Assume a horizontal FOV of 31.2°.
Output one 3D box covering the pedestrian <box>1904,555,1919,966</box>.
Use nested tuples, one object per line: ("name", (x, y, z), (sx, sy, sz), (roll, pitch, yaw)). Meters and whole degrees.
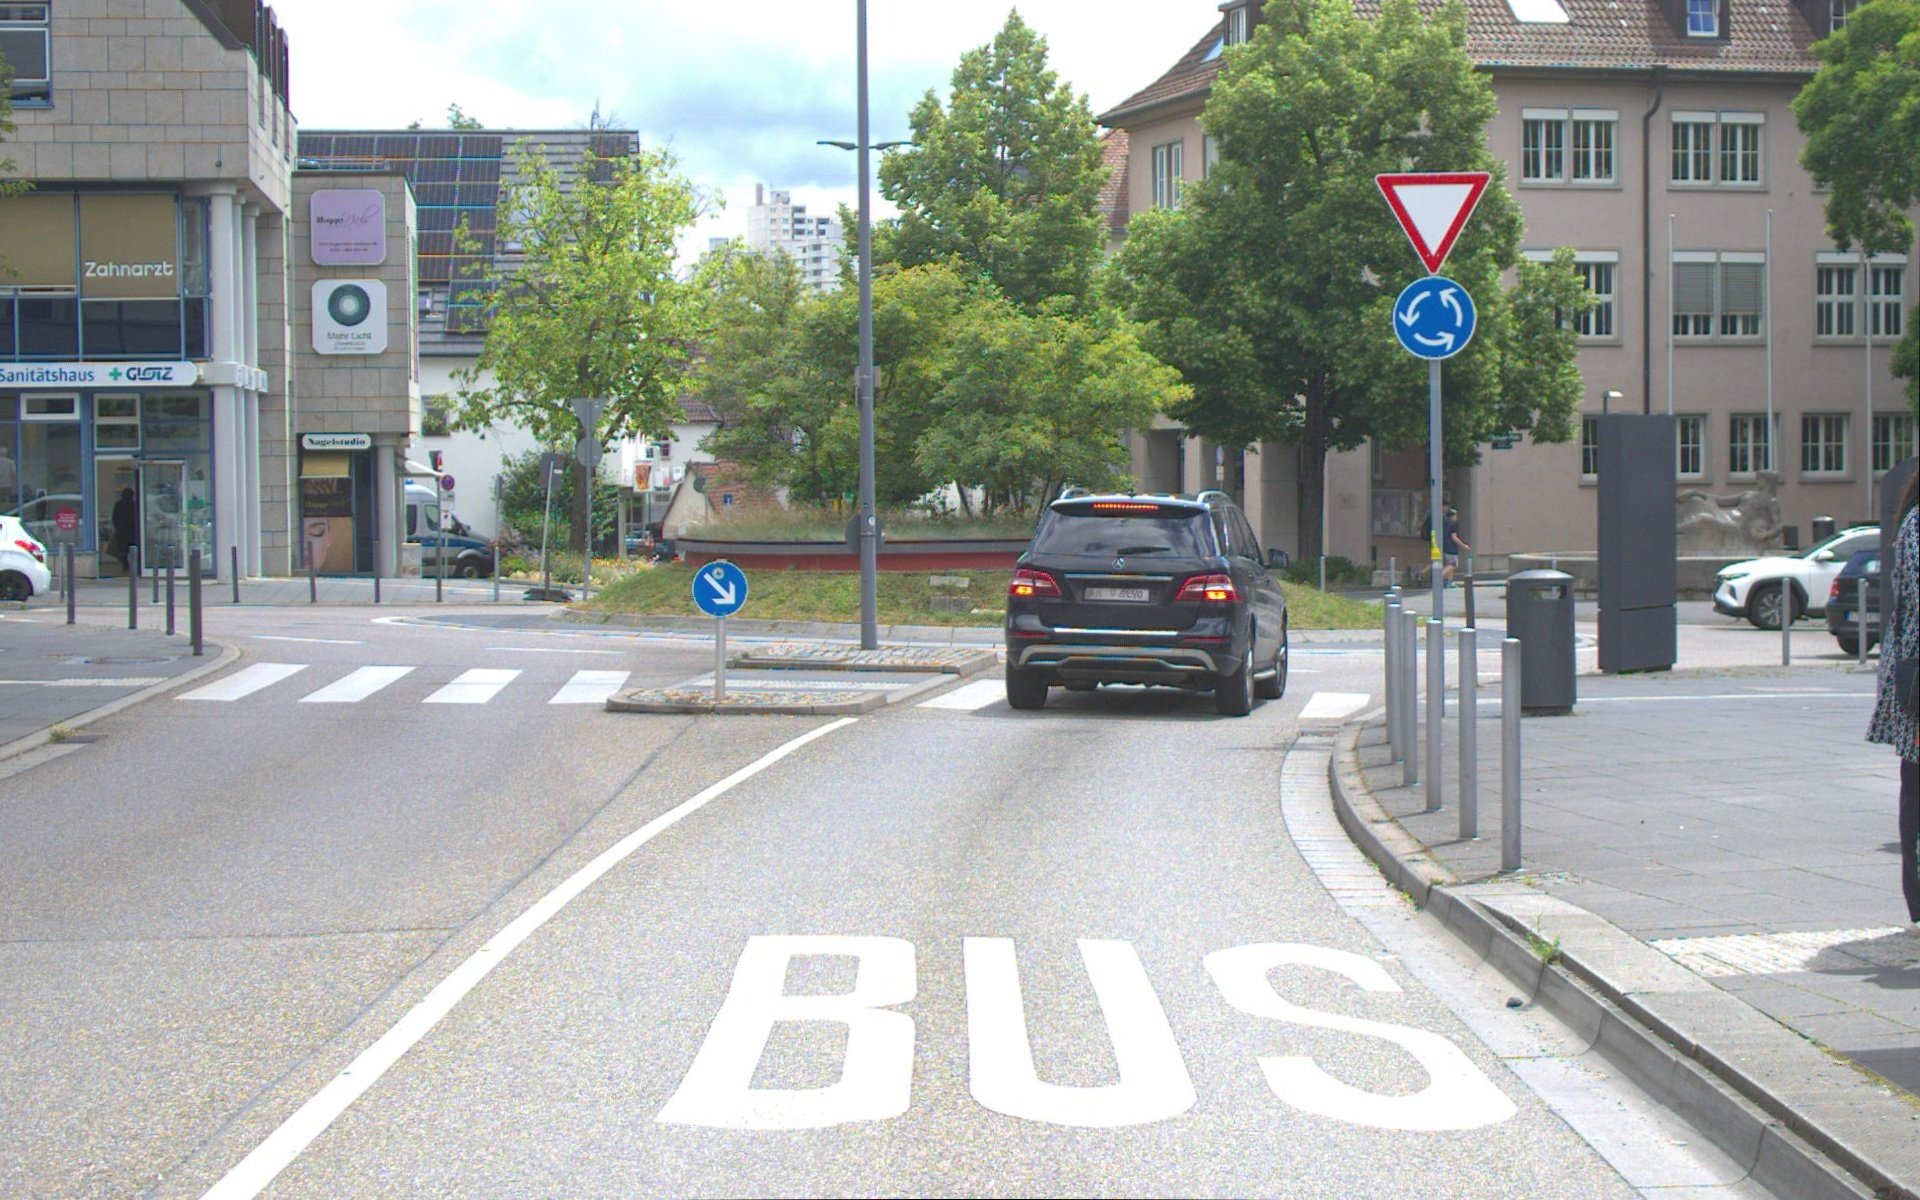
("pedestrian", (3.090, 0.474, 10.377), (0.403, 1.222, 0.388), (-1, 1, 21))

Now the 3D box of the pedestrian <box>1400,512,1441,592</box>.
("pedestrian", (9.151, -0.952, 68.327), (0.637, 1.518, 0.576), (3, 6, 22))

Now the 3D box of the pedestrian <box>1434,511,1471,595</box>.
("pedestrian", (9.749, -0.931, 68.014), (0.573, 1.603, 0.437), (4, 6, 27))

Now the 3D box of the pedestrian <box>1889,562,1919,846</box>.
("pedestrian", (4.186, 0.425, 14.292), (0.476, 1.168, 0.390), (-2, 1, 37))

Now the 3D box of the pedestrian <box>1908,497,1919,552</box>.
("pedestrian", (21.577, -1.692, 76.927), (0.487, 1.218, 0.579), (2, 2, 35))

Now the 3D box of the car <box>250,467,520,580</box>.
("car", (-14.363, -1.882, 85.928), (6.283, 2.551, 2.207), (1, -2, -22))

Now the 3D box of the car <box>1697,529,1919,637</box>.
("car", (13.643, -0.274, 53.238), (4.257, 1.571, 1.848), (-1, 1, 15))

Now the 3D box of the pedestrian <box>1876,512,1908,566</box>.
("pedestrian", (20.744, -1.364, 76.504), (0.487, 1.178, 0.579), (2, 2, 35))

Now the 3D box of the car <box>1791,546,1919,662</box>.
("car", (12.350, 0.017, 43.219), (3.824, 1.378, 1.613), (-1, 2, -36))

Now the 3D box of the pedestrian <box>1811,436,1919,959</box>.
("pedestrian", (2.972, 0.295, 10.879), (0.387, 1.614, 0.469), (-2, 1, 1))

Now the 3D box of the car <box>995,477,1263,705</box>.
("car", (1.329, -0.091, 28.339), (2.027, 1.721, 4.433), (0, 0, 1))

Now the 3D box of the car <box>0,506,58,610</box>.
("car", (-15.589, -0.598, 51.565), (3.870, 1.526, 1.659), (-2, 1, -18))
